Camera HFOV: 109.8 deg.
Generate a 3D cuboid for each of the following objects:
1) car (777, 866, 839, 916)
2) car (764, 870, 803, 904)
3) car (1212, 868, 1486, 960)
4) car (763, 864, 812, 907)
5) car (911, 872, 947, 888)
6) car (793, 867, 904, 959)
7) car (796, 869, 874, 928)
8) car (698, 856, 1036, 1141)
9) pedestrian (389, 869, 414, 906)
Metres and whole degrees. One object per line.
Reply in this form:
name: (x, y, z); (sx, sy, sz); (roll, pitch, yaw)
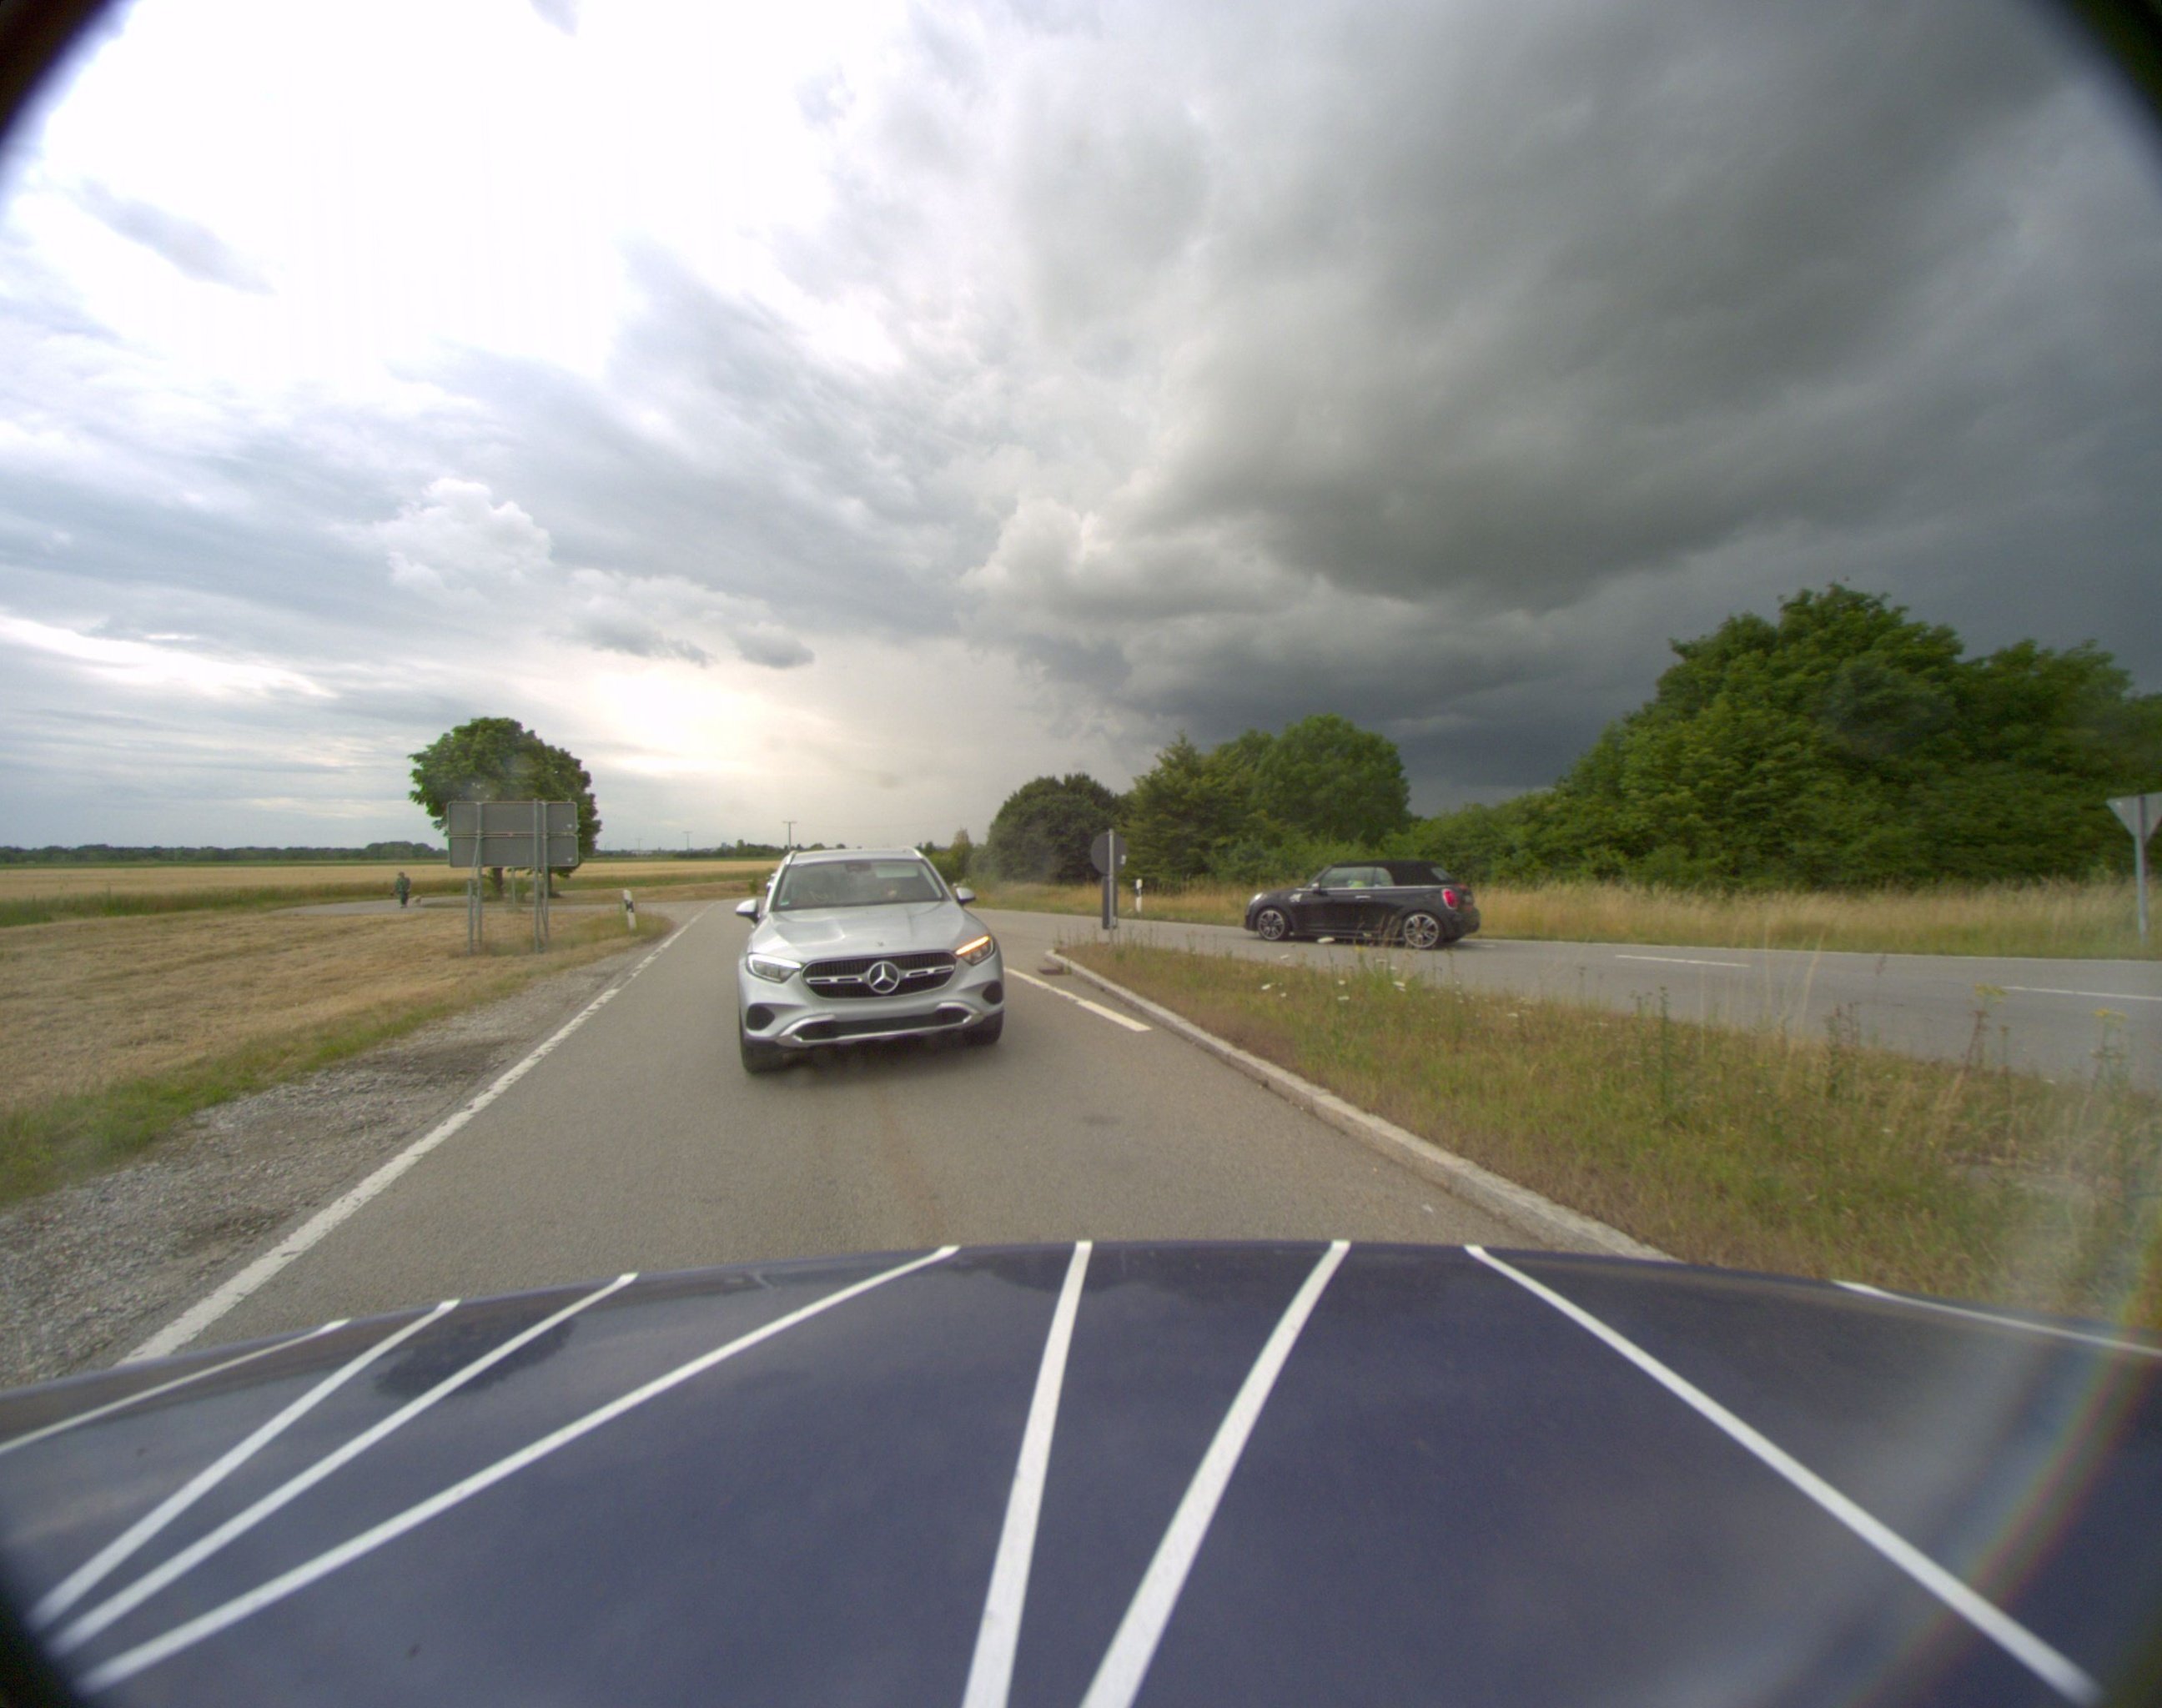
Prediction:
car: (-9.240, 1.166, 25.525); (1.724, 1.345, 4.205); (-3, 1, -22)
car: (-15.534, 1.661, 39.560); (1.724, 1.486, 4.205); (-3, 1, -22)
car: (4.539, 0.949, 13.207); (4.157, 1.344, 1.678); (-2, -1, 38)
car: (-12.269, 1.253, 31.660); (1.724, 1.486, 4.629); (-3, 1, -22)
car: (-16.003, 2.681, 80.088); (1.818, 1.524, 4.006); (0, 0, 21)
car: (-4.715, 1.014, 15.034); (1.723, 1.345, 4.686); (-3, 1, -20)
car: (-6.932, 1.148, 21.163); (1.724, 1.345, 4.205); (-1, 1, -22)
car: (-2.021, 0.865, 6.907); (1.999, 1.577, 4.386); (-3, 1, -20)
pedestrian: (-29.841, 1.460, 33.363); (0.775, 1.602, 0.942); (-1, 1, -40)
